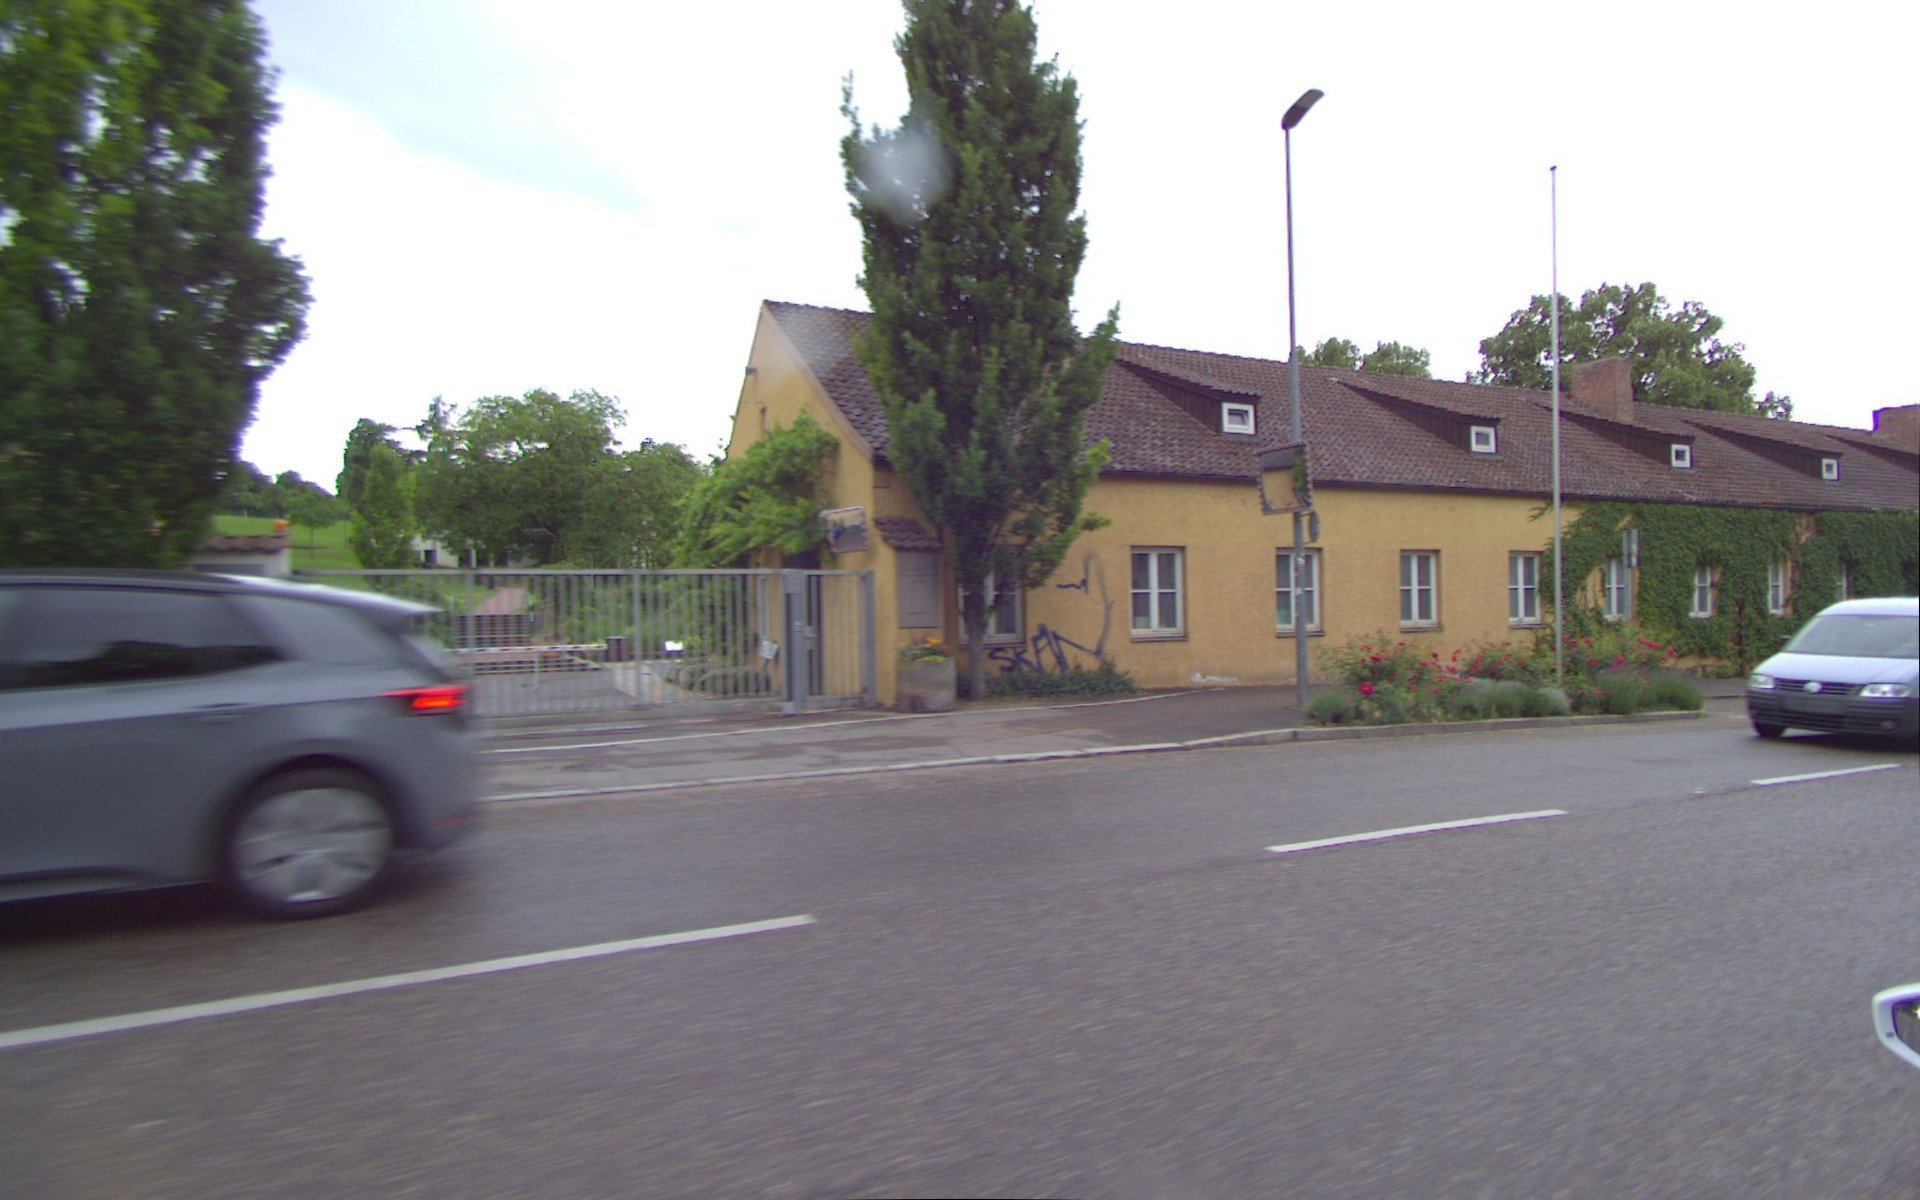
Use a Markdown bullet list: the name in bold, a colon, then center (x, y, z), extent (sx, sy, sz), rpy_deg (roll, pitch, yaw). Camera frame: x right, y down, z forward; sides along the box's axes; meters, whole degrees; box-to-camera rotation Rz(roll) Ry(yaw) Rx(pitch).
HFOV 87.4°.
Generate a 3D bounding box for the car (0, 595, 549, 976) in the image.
- **car**: center (-4.383, 0.725, 4.657), extent (4.414, 1.477, 1.874), rpy_deg (1, 0, -29)

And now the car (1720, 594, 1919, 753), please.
- **car**: center (11.963, 0.836, 12.843), extent (4.453, 1.728, 1.887), rpy_deg (1, 0, -28)
